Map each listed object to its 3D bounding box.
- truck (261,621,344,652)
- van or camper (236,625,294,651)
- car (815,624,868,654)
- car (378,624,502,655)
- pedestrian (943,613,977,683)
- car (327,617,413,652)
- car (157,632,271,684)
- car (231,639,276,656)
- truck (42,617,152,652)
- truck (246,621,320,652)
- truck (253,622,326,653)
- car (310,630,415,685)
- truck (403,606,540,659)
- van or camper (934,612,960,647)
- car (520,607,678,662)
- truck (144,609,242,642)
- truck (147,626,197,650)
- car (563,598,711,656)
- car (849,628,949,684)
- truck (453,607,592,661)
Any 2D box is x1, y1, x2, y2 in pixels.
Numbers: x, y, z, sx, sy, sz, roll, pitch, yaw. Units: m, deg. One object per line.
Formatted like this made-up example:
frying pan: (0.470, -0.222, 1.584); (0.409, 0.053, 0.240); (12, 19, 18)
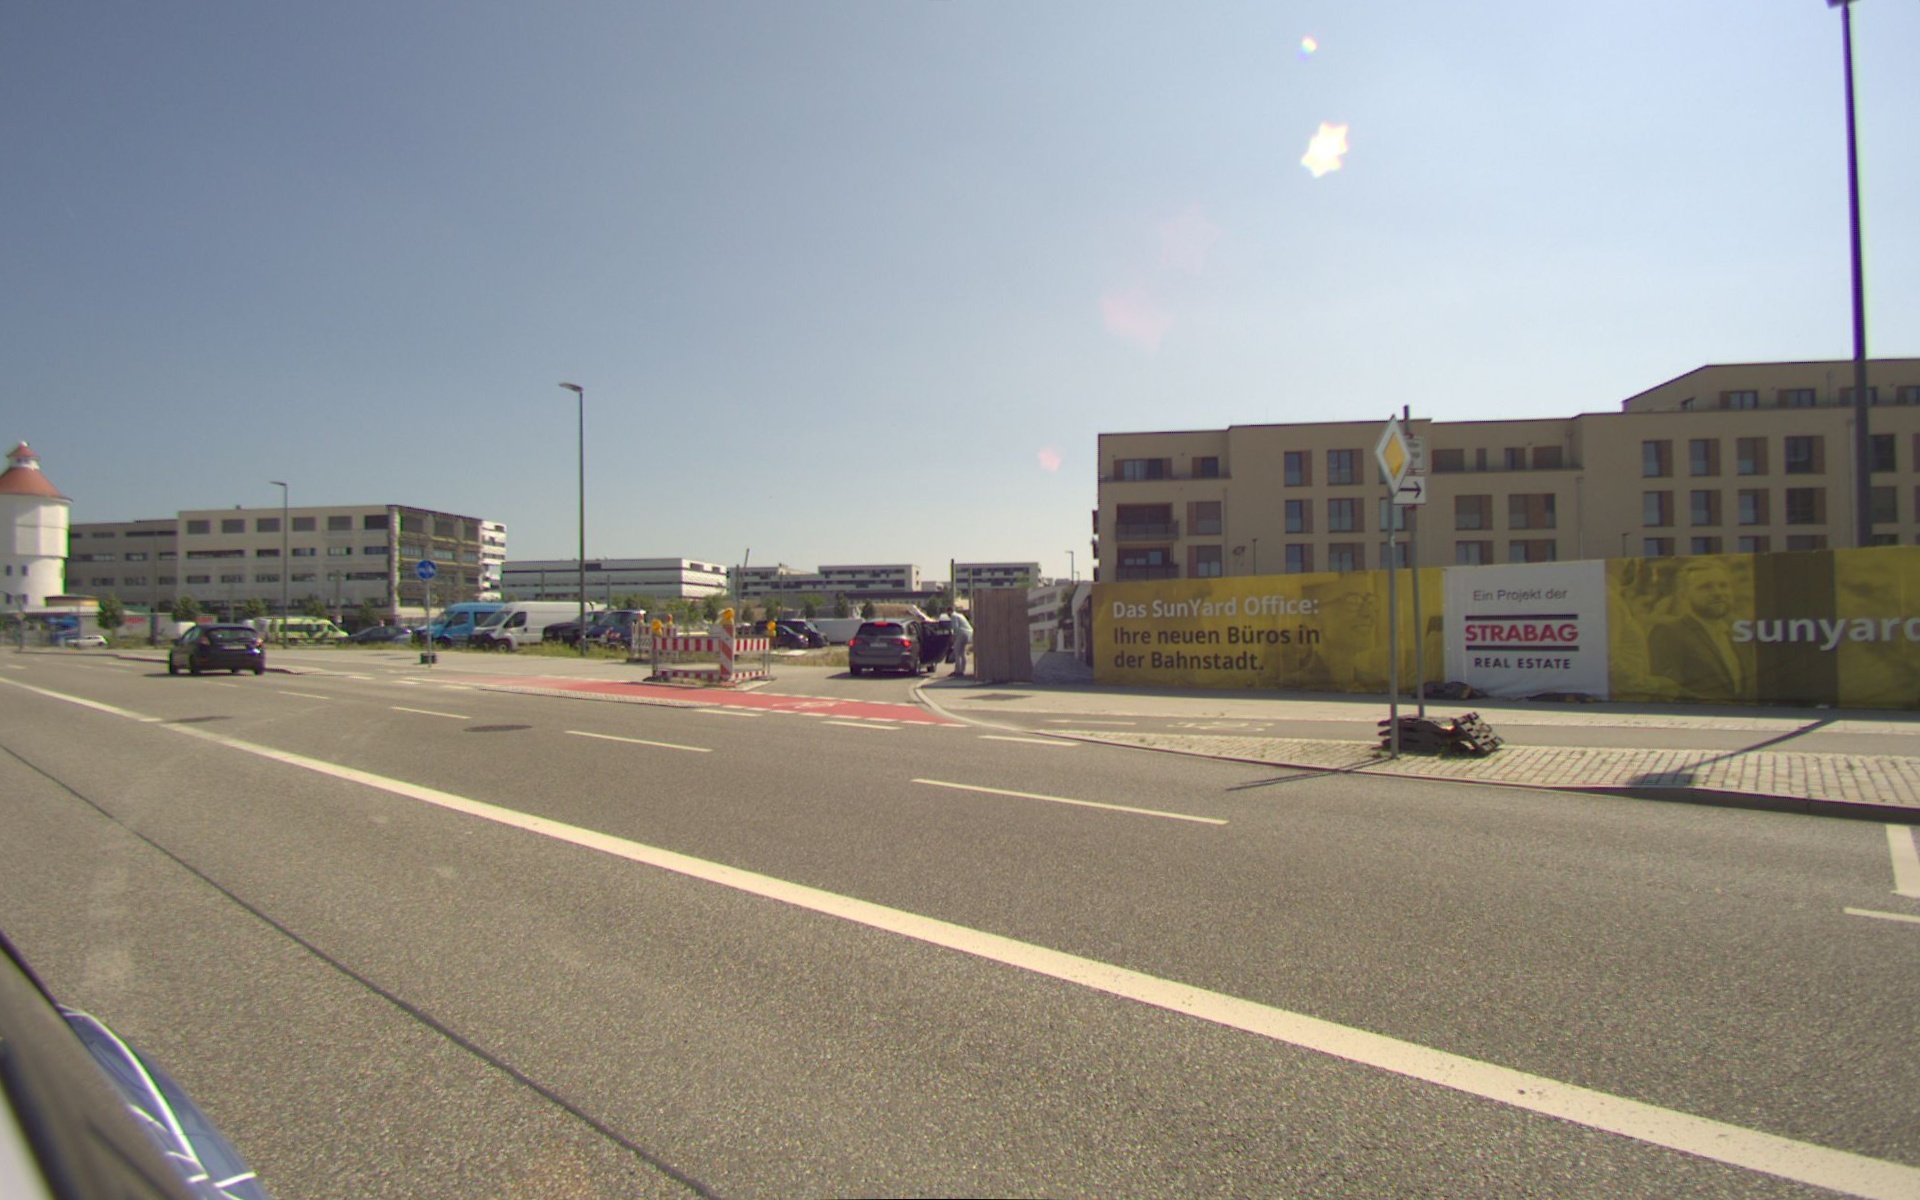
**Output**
truck: (-66.582, 3.702, 102.641); (2.599, 2.847, 6.572); (-2, -1, 38)
van or camper: (-75.838, 4.129, 110.449); (2.258, 2.682, 4.849); (-3, -1, 40)
car: (-9.661, 3.197, 82.920); (3.951, 2.258, 1.996); (-2, -1, 6)
car: (-27.883, 2.095, 54.412); (2.104, 1.485, 5.596); (-2, -2, 38)
pedestrian: (-0.007, 1.200, 25.600); (0.676, 1.696, 0.758); (-1, 0, -14)
car: (-33.549, 1.969, 57.583); (3.938, 1.918, 1.830); (1, -3, -42)
car: (-21.256, 1.592, 28.781); (4.454, 1.362, 1.686); (-2, -2, 41)
car: (-78.595, 5.266, 112.596); (1.654, 1.771, 3.830); (-3, -1, 37)
truck: (-115.081, 4.509, 135.274); (3.281, 4.098, 10.896); (-1, 0, 23)
truck: (-72.229, 3.848, 108.037); (2.570, 2.923, 6.080); (-1, 1, 41)
truck: (-69.052, 3.859, 104.297); (2.568, 2.845, 5.777); (-1, 1, 40)
car: (-17.577, 1.642, 29.715); (3.678, 1.488, 1.590); (-1, -3, 42)
truck: (-24.990, 1.645, 51.961); (2.274, 2.563, 5.941); (-3, -3, 41)
van or camper: (-0.946, 2.276, 77.495); (1.909, 2.578, 5.928); (-1, -2, 0)
car: (-15.117, 1.409, 42.658); (2.395, 2.182, 5.818); (-2, -2, 43)
truck: (-110.084, 3.564, 145.557); (3.331, 4.307, 10.841); (-1, 0, 29)
truck: (-91.223, 4.401, 117.145); (5.913, 2.675, 2.154); (-1, -2, 26)
car: (-13.035, 1.125, 41.152); (2.391, 2.190, 5.391); (-2, -3, 37)
car: (-1.512, 1.435, 26.609); (1.975, 1.328, 4.239); (-1, -2, 6)
truck: (-20.164, 1.575, 46.874); (2.273, 2.381, 5.511); (-2, -3, 39)
